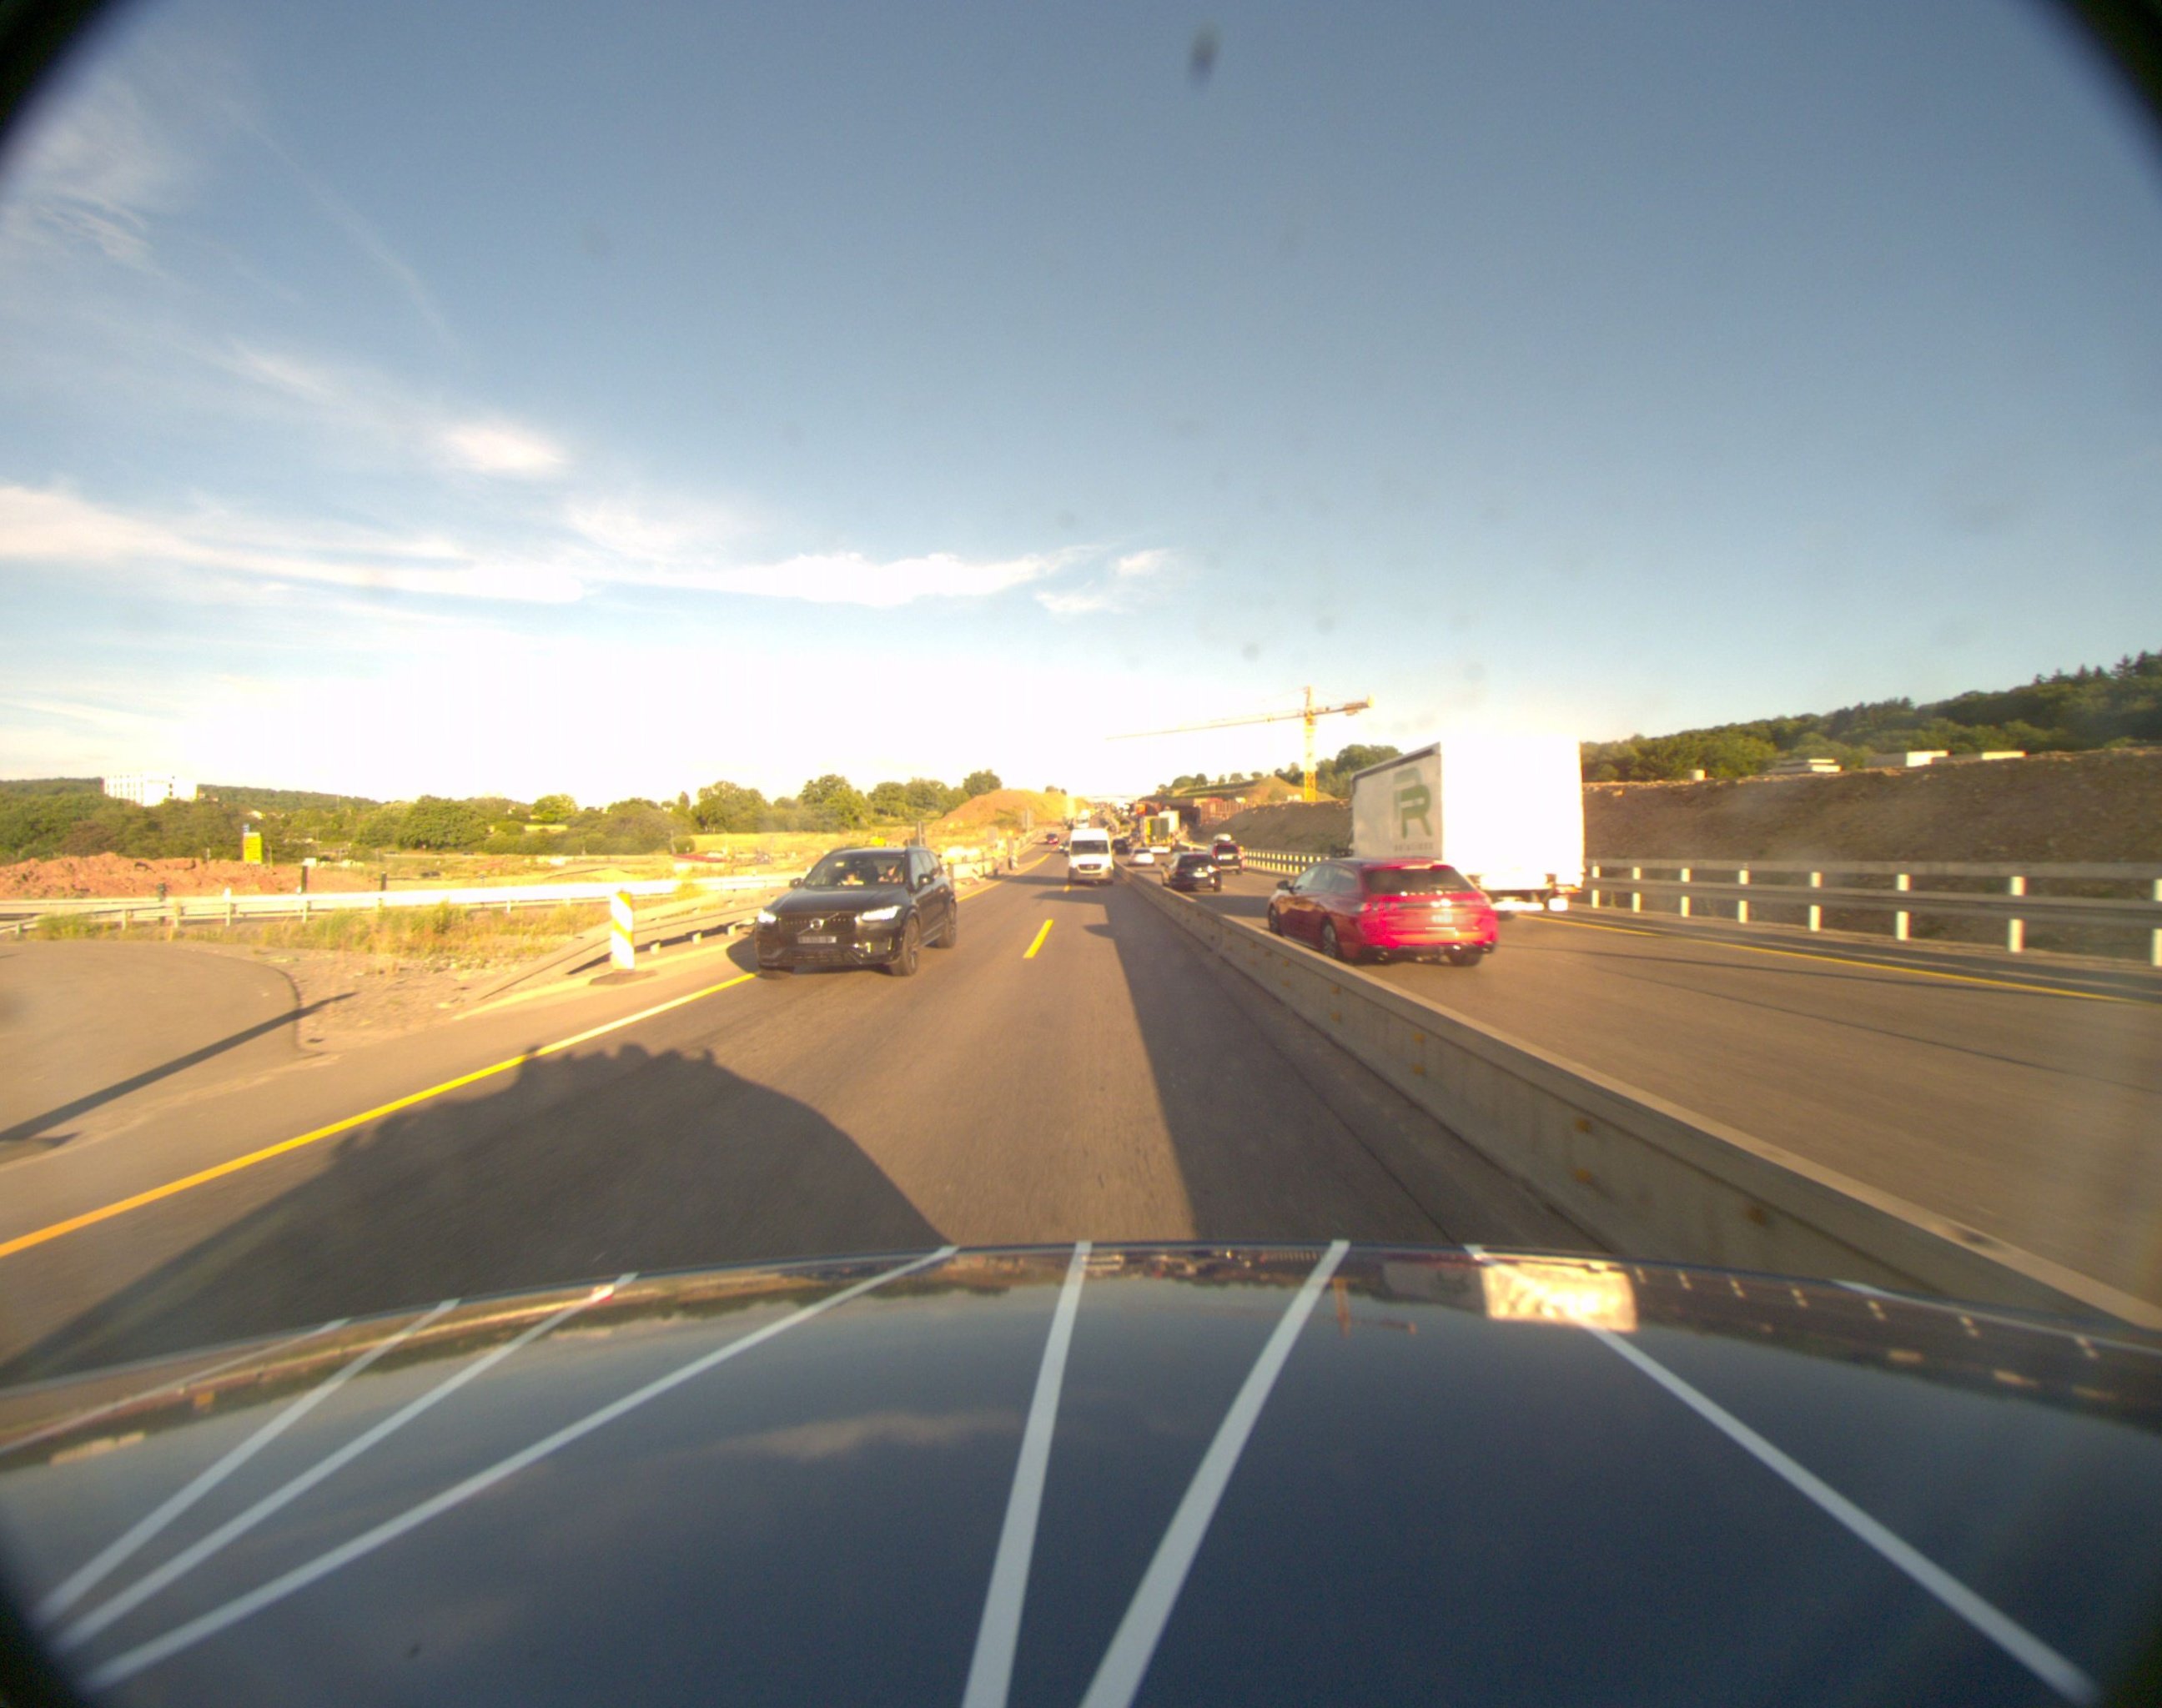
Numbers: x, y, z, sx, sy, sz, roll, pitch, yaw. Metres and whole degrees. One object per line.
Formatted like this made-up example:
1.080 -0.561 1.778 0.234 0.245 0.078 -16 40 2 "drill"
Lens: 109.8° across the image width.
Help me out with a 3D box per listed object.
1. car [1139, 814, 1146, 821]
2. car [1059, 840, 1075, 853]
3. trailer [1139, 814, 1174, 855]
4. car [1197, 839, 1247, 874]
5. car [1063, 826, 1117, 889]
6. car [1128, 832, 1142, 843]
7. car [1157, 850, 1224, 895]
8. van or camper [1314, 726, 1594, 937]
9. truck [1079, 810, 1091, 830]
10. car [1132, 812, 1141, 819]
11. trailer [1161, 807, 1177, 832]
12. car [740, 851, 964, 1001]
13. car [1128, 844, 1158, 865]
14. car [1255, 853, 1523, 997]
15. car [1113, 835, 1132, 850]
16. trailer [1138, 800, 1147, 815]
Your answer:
17.134 -10.247 211.725 1.792 1.611 4.873 -2 4 9 "car"
-1.629 -0.942 91.904 1.790 1.477 3.999 -2 1 0 "car"
8.137 -2.145 83.180 2.780 4.008 13.680 -1 1 2 "trailer"
7.870 0.104 42.747 1.998 1.754 4.439 -2 1 1 "car"
0.449 0.081 33.816 2.109 2.518 5.219 -2 1 2 "car"
7.549 -2.377 106.184 1.719 1.402 4.327 -2 2 6 "car"
3.984 0.634 28.346 1.820 1.454 4.705 -2 1 0 "car"
7.435 -0.418 16.531 2.464 3.478 7.412 -2 1 1 "van or camper"
0.924 -7.503 166.530 2.263 3.709 6.565 -5 6 0 "truck"
17.043 -11.855 232.835 1.997 2.003 5.256 -2 4 10 "car"
16.047 -6.418 139.058 2.536 4.191 13.931 -3 3 5 "trailer"
-3.123 0.860 11.578 1.902 1.703 4.886 -2 1 -1 "car"
4.638 -0.003 57.359 1.866 1.424 4.154 -3 1 1 "car"
3.863 0.763 10.550 1.820 1.454 4.705 -2 1 0 "car"
4.792 -1.382 87.917 1.916 1.600 4.493 -2 2 1 "car"
20.202 -15.427 249.359 2.589 4.448 14.129 -3 4 4 "trailer"
